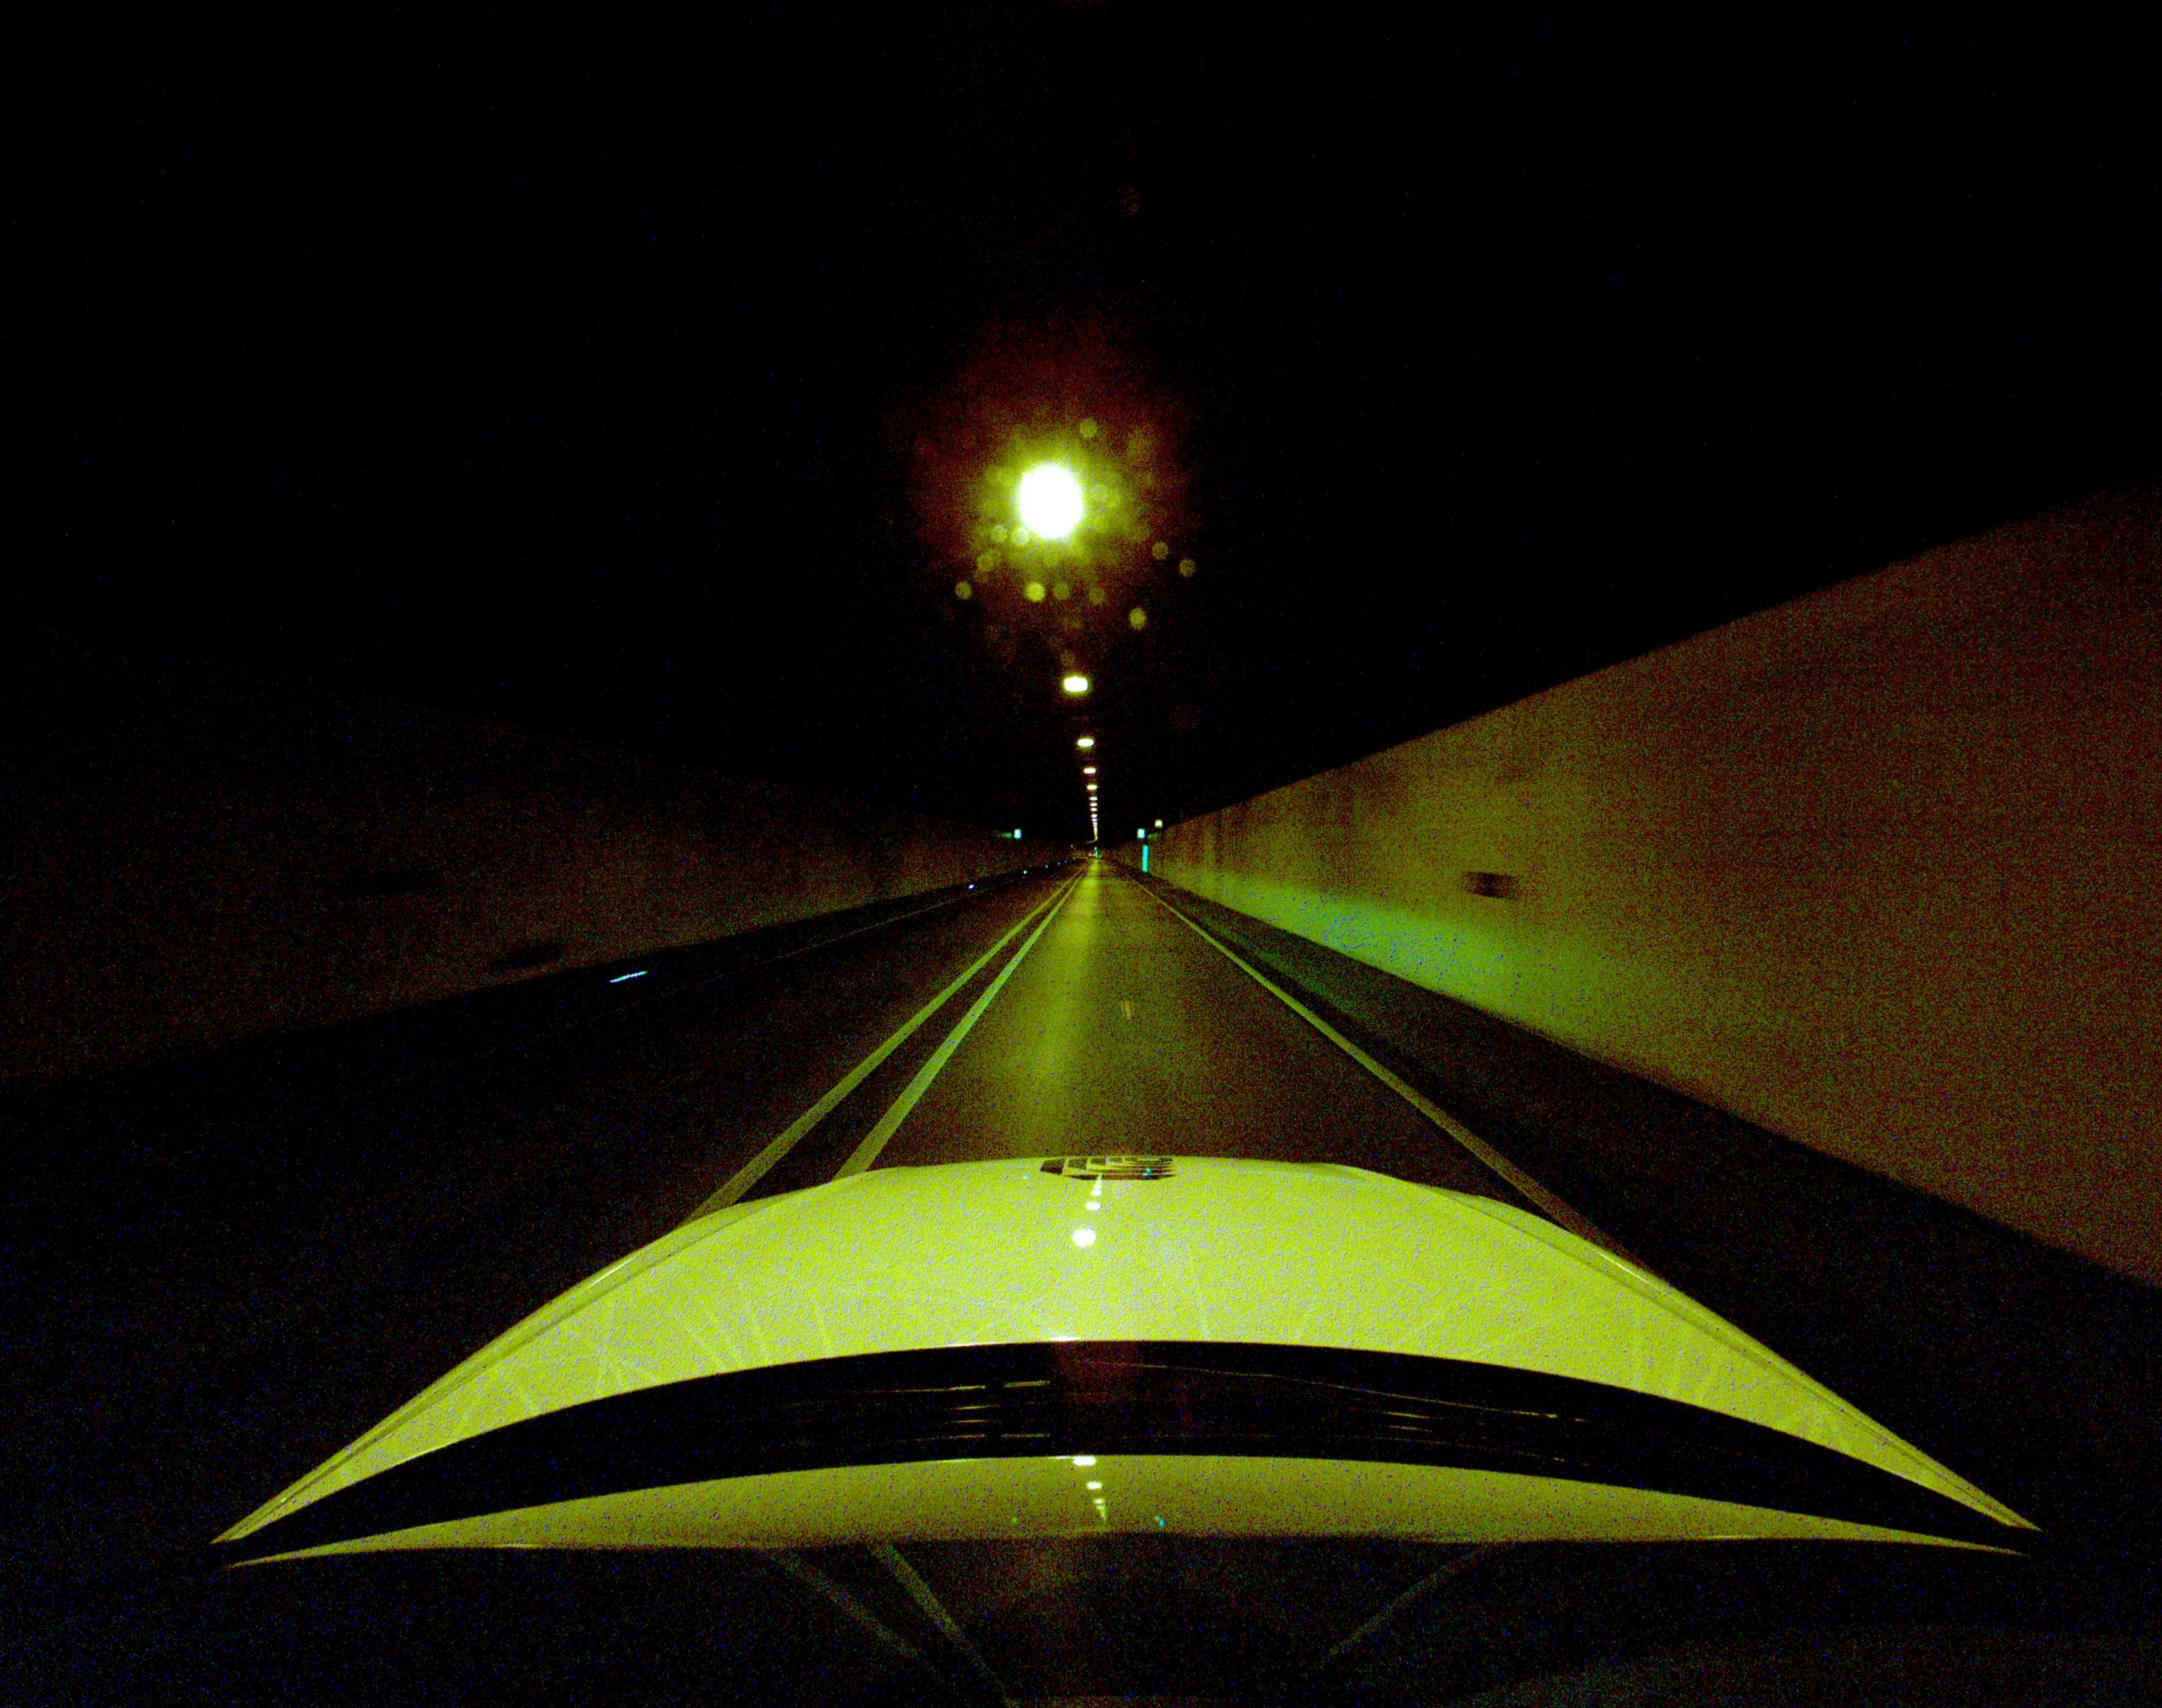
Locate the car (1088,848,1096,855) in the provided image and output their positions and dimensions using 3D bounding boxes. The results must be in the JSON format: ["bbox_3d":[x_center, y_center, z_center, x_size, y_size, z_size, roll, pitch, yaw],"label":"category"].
[{"bbox_3d":[3.227,-0.588,235.343,1.963,1.939,4.607,0,0,-3],"label":"car"}]
